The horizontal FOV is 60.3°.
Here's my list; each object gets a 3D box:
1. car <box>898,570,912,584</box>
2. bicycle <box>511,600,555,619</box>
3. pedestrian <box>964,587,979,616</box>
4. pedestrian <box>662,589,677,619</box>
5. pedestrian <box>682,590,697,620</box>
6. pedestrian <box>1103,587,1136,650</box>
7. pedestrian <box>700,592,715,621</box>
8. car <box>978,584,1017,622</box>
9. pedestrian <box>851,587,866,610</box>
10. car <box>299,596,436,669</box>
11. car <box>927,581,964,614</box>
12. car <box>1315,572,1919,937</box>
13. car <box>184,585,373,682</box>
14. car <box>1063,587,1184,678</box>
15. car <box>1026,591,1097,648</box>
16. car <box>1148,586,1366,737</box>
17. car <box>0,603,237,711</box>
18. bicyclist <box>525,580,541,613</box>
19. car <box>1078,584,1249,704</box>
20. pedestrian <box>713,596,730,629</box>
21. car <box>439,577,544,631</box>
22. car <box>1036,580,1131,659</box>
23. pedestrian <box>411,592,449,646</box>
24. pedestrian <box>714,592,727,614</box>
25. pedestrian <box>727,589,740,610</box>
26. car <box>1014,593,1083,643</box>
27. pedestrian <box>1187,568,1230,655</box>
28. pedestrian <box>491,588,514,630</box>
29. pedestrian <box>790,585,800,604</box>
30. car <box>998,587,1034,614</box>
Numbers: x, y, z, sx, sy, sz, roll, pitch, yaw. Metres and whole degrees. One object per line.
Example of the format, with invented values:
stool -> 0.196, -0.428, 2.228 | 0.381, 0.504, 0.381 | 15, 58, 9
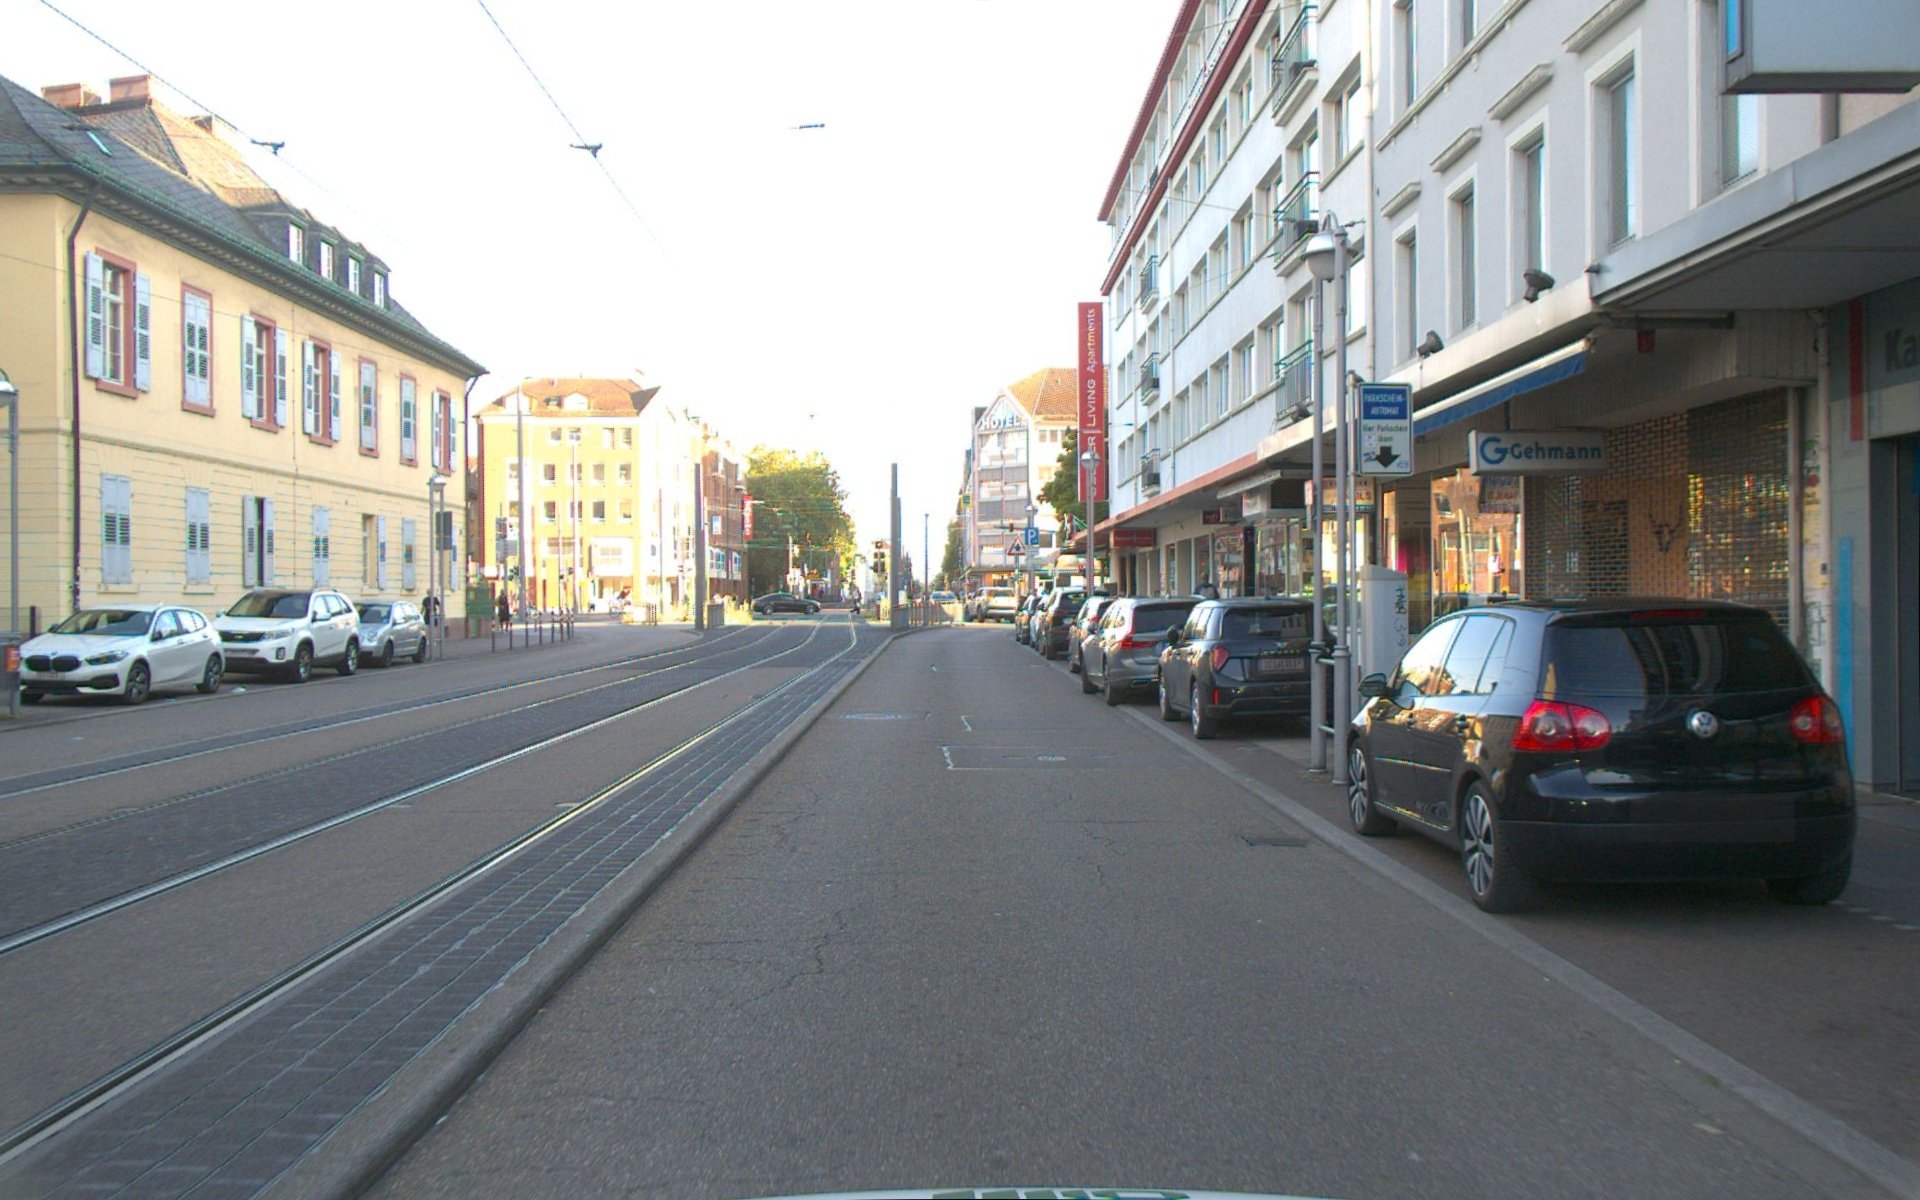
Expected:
car -> -8.031, -3.357, 241.548 | 1.953, 1.934, 4.000 | 1, 0, 0
bicycle -> -26.917, 0.617, 104.304 | 2.602, 1.119, 0.433 | 1, -1, -21
pedestrian -> 0.720, 0.107, 99.786 | 0.856, 1.735, 0.701 | 1, -1, 2
pedestrian -> -13.829, 0.204, 78.751 | 0.650, 1.399, 0.651 | -1, 0, -4
pedestrian -> -12.925, 0.232, 79.021 | 0.650, 1.399, 0.651 | 0, 0, -4
pedestrian -> 4.095, 0.469, 42.392 | 0.718, 1.601, 0.966 | 0, 0, -1
pedestrian -> -12.081, 0.312, 79.211 | 0.650, 1.399, 0.651 | -1, 0, -4
car -> 1.781, 0.164, 79.924 | 1.797, 1.665, 4.090 | -2, -1, 0
pedestrian -> -6.291, -0.088, 102.514 | 0.885, 1.399, 0.853 | -1, 0, -4
car -> -13.354, 0.700, 37.505 | 1.713, 1.499, 3.999 | 1, 1, -1
car -> -0.836, -0.114, 94.101 | 1.953, 1.623, 3.999 | -4, -2, -1
car -> 3.300, 0.674, 9.160 | 1.729, 1.540, 4.071 | 1, 0, -1
car -> -13.051, 0.592, 31.997 | 1.849, 1.690, 4.758 | 1, 0, -3
car -> 2.977, 0.548, 30.892 | 1.745, 1.549, 4.356 | 1, 0, -1
car -> 2.737, 0.513, 45.374 | 1.617, 1.445, 4.190 | 1, 0, -1
car -> 3.249, 0.633, 18.793 | 1.691, 1.507, 3.999 | 1, 0, -1
car -> -13.067, 0.822, 25.875 | 1.686, 1.478, 4.282 | 1, 0, -1
bicyclist -> -26.943, -0.226, 104.282 | 0.848, 2.049, 0.642 | 1, -1, -22
car -> 2.886, 0.596, 24.462 | 1.755, 1.560, 4.855 | 1, 0, -2
pedestrian -> -10.389, 0.537, 72.099 | 0.650, 1.399, 0.651 | 1, -1, -4
car -> -18.725, 0.154, 66.134 | 3.924, 2.049, 1.990 | -1, 0, -17
car -> 2.874, 0.443, 39.363 | 1.818, 1.730, 4.417 | 1, 0, -1
pedestrian -> -15.620, 0.546, 48.794 | 0.783, 1.569, 0.877 | 1, 0, 1
pedestrian -> -22.948, 0.271, 158.613 | 1.071, 2.049, 0.908 | 1, -1, -3
pedestrian -> -22.344, -0.025, 163.204 | 1.071, 2.049, 1.162 | 1, 0, -3
car -> 2.662, 0.531, 50.805 | 1.753, 1.437, 4.686 | 1, 0, -1
pedestrian -> 5.569, 0.254, 37.123 | 0.759, 1.913, 0.934 | -1, 0, -3
pedestrian -> -17.379, 0.346, 62.893 | 0.705, 1.563, 0.718 | -1, 0, -5
pedestrian -> -15.303, -0.491, 152.986 | 0.788, 1.693, 0.703 | 1, -1, 3
car -> 3.175, 0.023, 94.431 | 1.729, 1.465, 3.998 | -1, 0, -2
